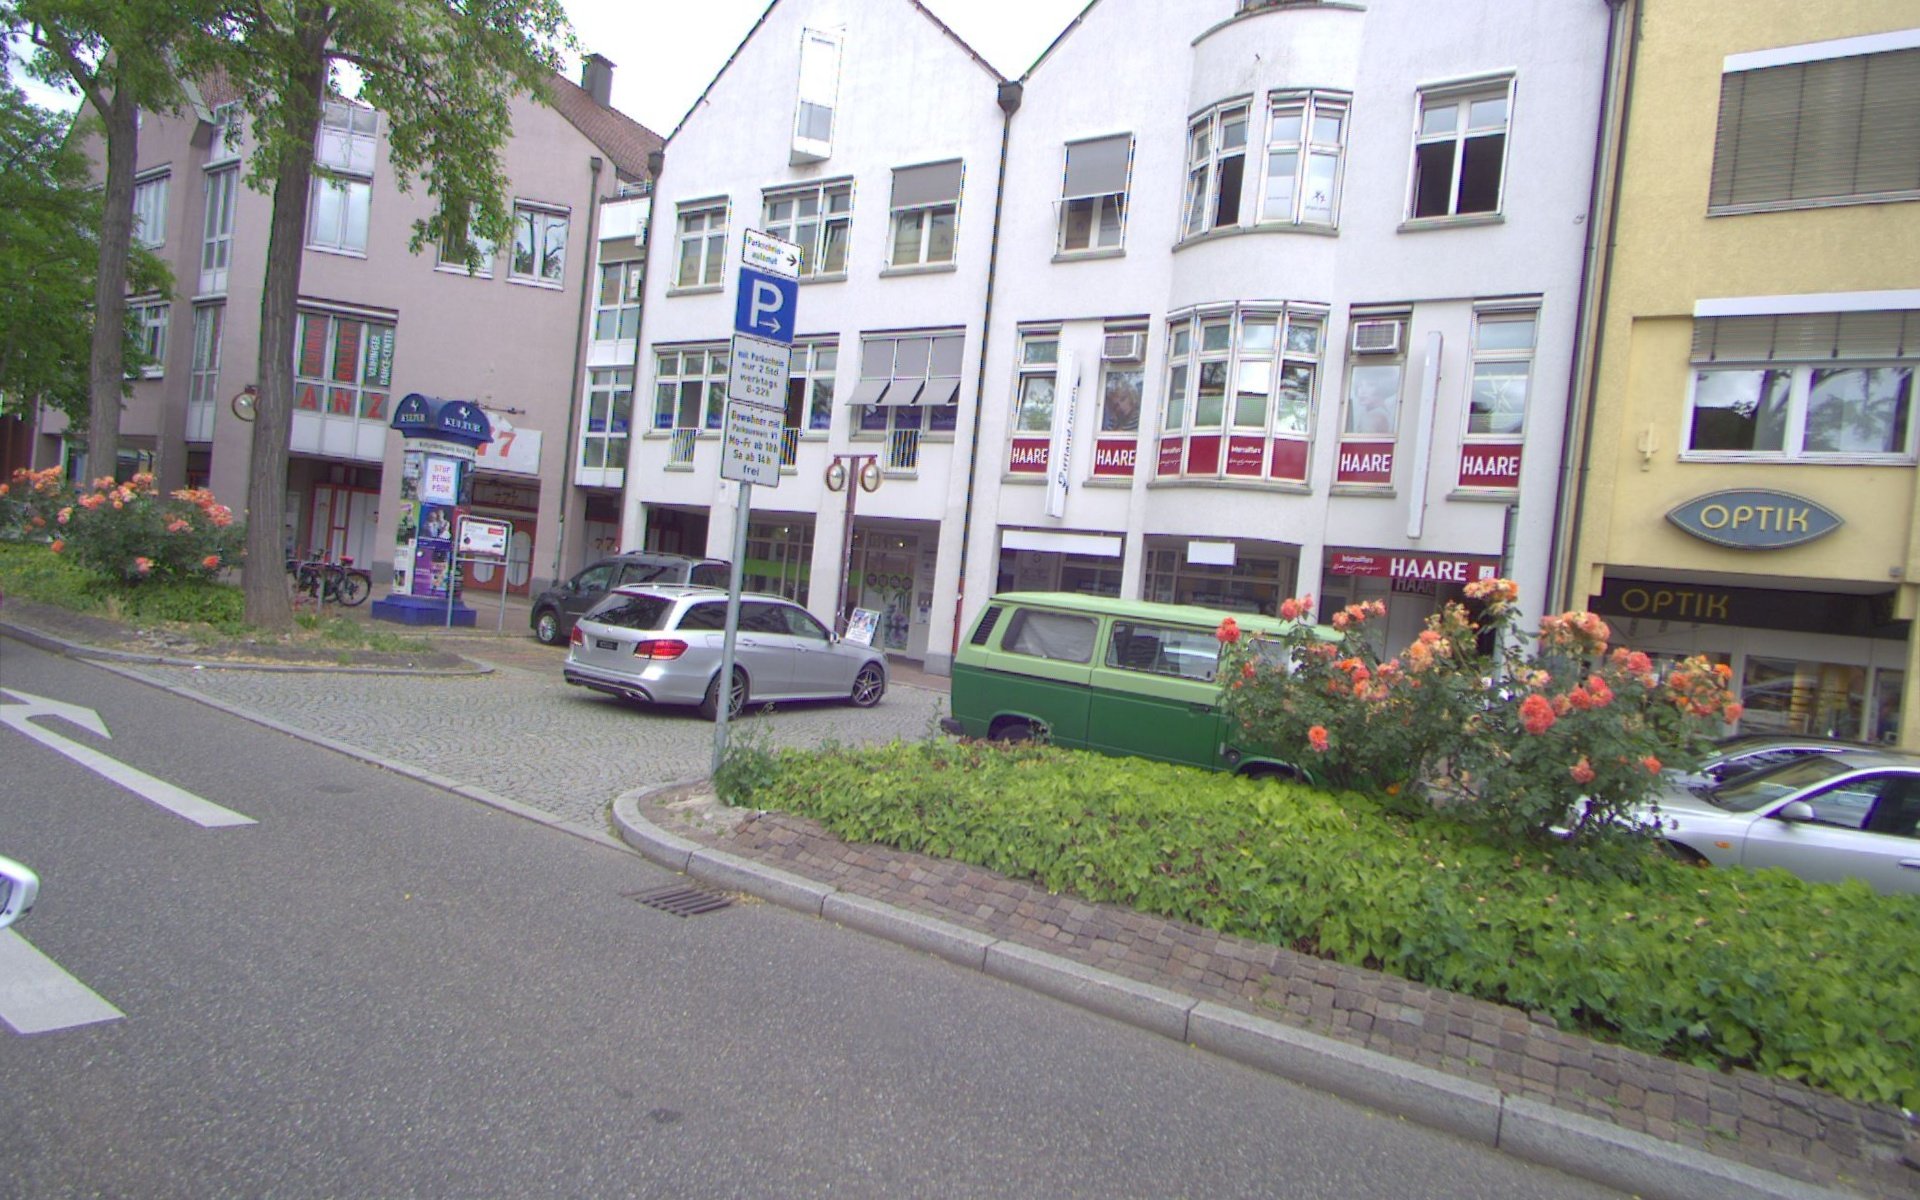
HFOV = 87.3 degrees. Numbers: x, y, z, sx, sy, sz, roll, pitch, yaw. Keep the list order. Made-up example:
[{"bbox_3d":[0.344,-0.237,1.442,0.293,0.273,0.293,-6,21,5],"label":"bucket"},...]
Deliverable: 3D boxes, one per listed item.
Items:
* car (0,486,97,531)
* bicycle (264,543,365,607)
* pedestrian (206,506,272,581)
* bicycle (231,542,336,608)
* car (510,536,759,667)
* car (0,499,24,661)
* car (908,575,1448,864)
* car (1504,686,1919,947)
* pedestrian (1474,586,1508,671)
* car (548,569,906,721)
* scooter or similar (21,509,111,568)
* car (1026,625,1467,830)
[{"bbox_3d":[-40.690,-4.089,43.899,1.770,1.421,4.182,7,-1,29],"label":"car"},{"bbox_3d":[-12.775,-0.493,19.937,1.545,1.061,0.405,7,1,-17],"label":"bicycle"},{"bbox_3d":[-17.487,-1.362,24.397,1.075,1.647,0.809,7,1,29],"label":"pedestrian"},{"bbox_3d":[-12.934,-0.478,19.267,1.545,1.061,0.405,7,1,-17],"label":"bicycle"},{"bbox_3d":[-5.870,0.007,18.038,4.188,1.827,1.736,7,1,29],"label":"car"},{"bbox_3d":[-10.609,-0.436,9.467,3.581,1.465,1.630,7,-2,32],"label":"car"},{"bbox_3d":[2.070,0.958,9.902,4.672,1.900,1.996,6,1,29],"label":"car"},{"bbox_3d":[6.686,1.630,7.327,4.673,1.326,1.840,6,1,30],"label":"car"},{"bbox_3d":[10.498,0.576,19.891,0.416,1.631,0.556,7,1,28],"label":"pedestrian"},{"bbox_3d":[-2.766,0.598,13.124,1.711,1.472,4.643,7,0,31],"label":"car"},{"bbox_3d":[-19.893,-1.361,22.387,1.852,1.101,0.471,6,1,14],"label":"scooter or similar"},{"bbox_3d":[3.393,1.354,12.100,4.672,1.567,1.996,6,1,28],"label":"car"}]
